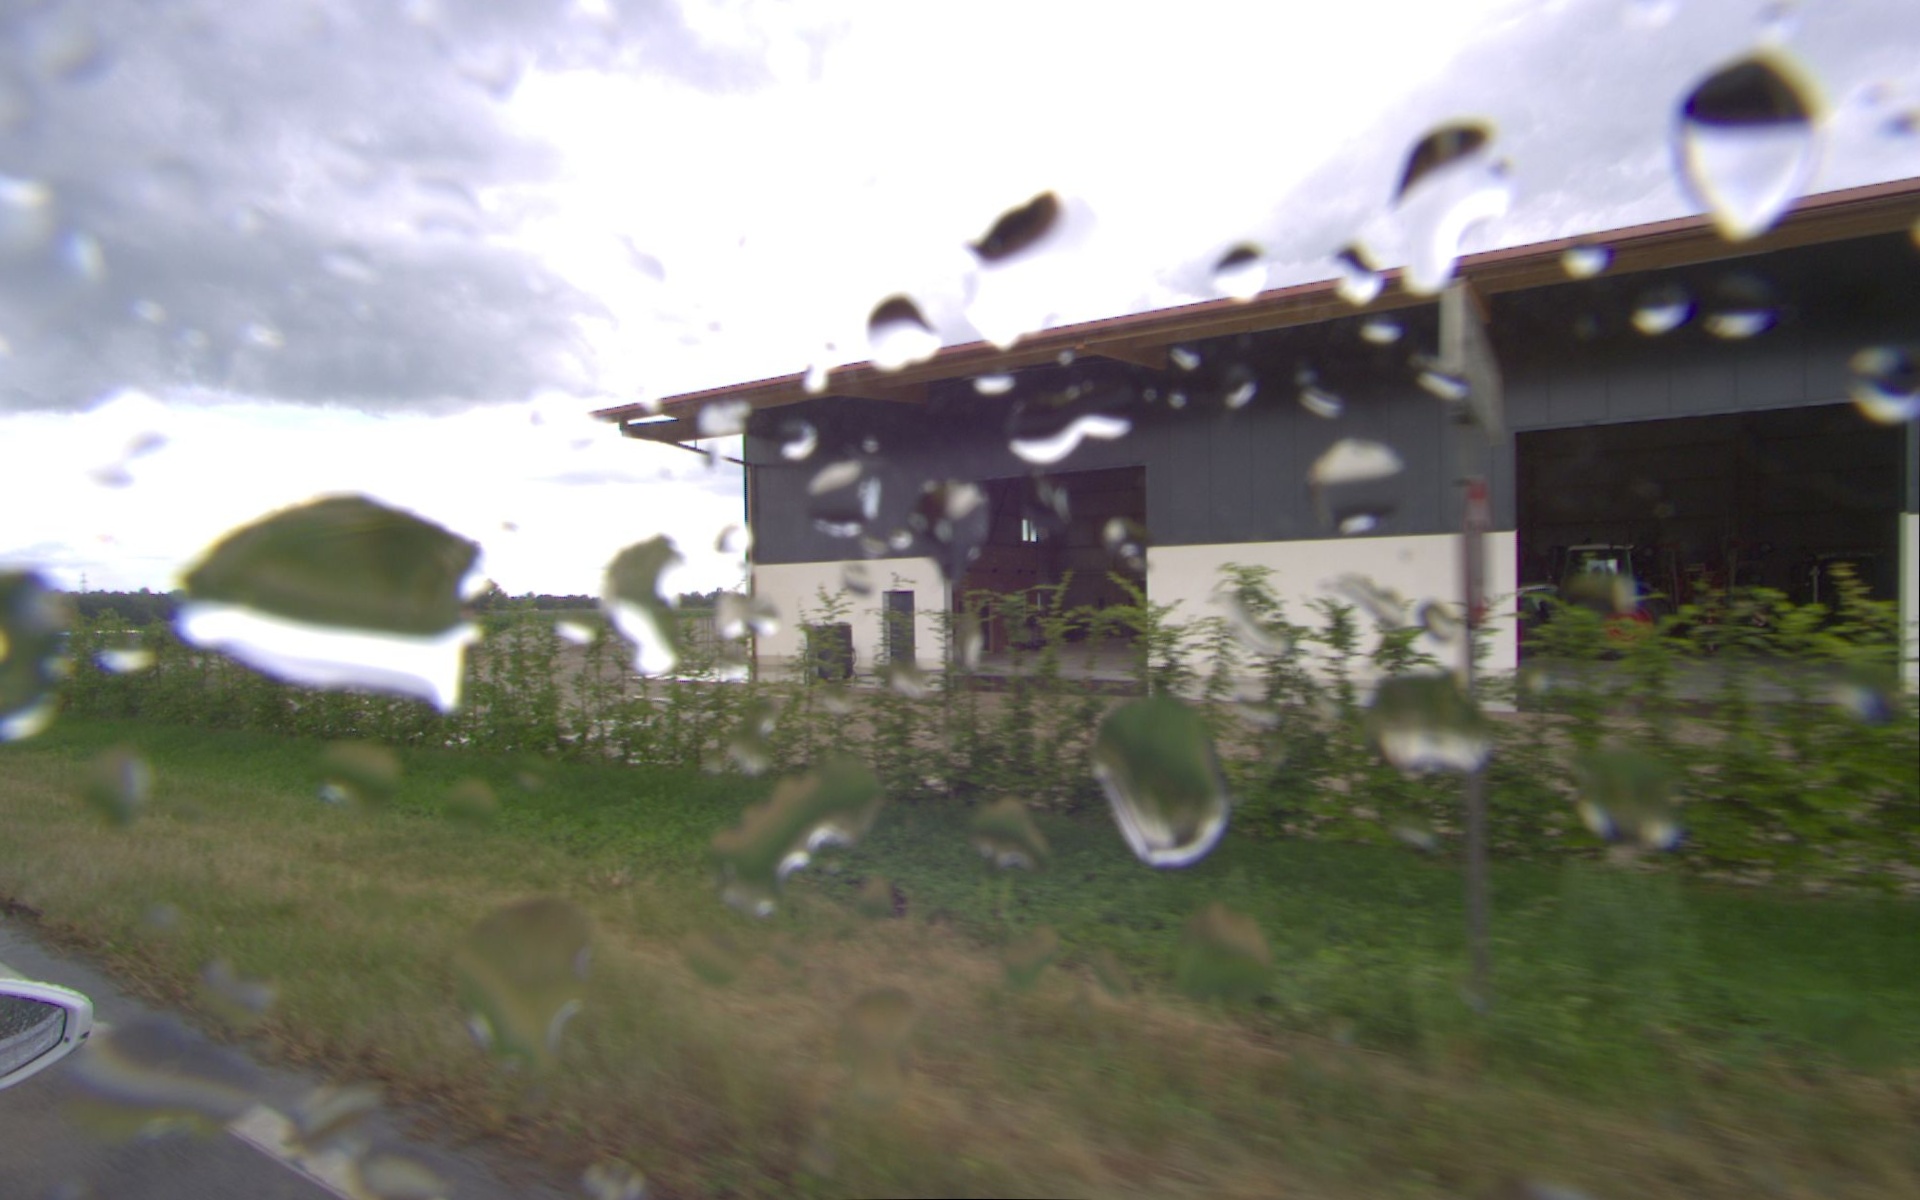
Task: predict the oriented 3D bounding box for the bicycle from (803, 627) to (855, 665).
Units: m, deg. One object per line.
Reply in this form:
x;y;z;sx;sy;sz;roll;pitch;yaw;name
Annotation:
-3.839;1.344;29.372;1.637;1.086;0.389;-1;1;33;bicycle

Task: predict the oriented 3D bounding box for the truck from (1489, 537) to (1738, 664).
17.042;0.043;26.424;5.268;3.053;2.484;-1;0;32;truck

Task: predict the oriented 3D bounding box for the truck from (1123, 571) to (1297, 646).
9.445;0.341;38.101;6.069;2.642;2.112;-1;0;33;truck
